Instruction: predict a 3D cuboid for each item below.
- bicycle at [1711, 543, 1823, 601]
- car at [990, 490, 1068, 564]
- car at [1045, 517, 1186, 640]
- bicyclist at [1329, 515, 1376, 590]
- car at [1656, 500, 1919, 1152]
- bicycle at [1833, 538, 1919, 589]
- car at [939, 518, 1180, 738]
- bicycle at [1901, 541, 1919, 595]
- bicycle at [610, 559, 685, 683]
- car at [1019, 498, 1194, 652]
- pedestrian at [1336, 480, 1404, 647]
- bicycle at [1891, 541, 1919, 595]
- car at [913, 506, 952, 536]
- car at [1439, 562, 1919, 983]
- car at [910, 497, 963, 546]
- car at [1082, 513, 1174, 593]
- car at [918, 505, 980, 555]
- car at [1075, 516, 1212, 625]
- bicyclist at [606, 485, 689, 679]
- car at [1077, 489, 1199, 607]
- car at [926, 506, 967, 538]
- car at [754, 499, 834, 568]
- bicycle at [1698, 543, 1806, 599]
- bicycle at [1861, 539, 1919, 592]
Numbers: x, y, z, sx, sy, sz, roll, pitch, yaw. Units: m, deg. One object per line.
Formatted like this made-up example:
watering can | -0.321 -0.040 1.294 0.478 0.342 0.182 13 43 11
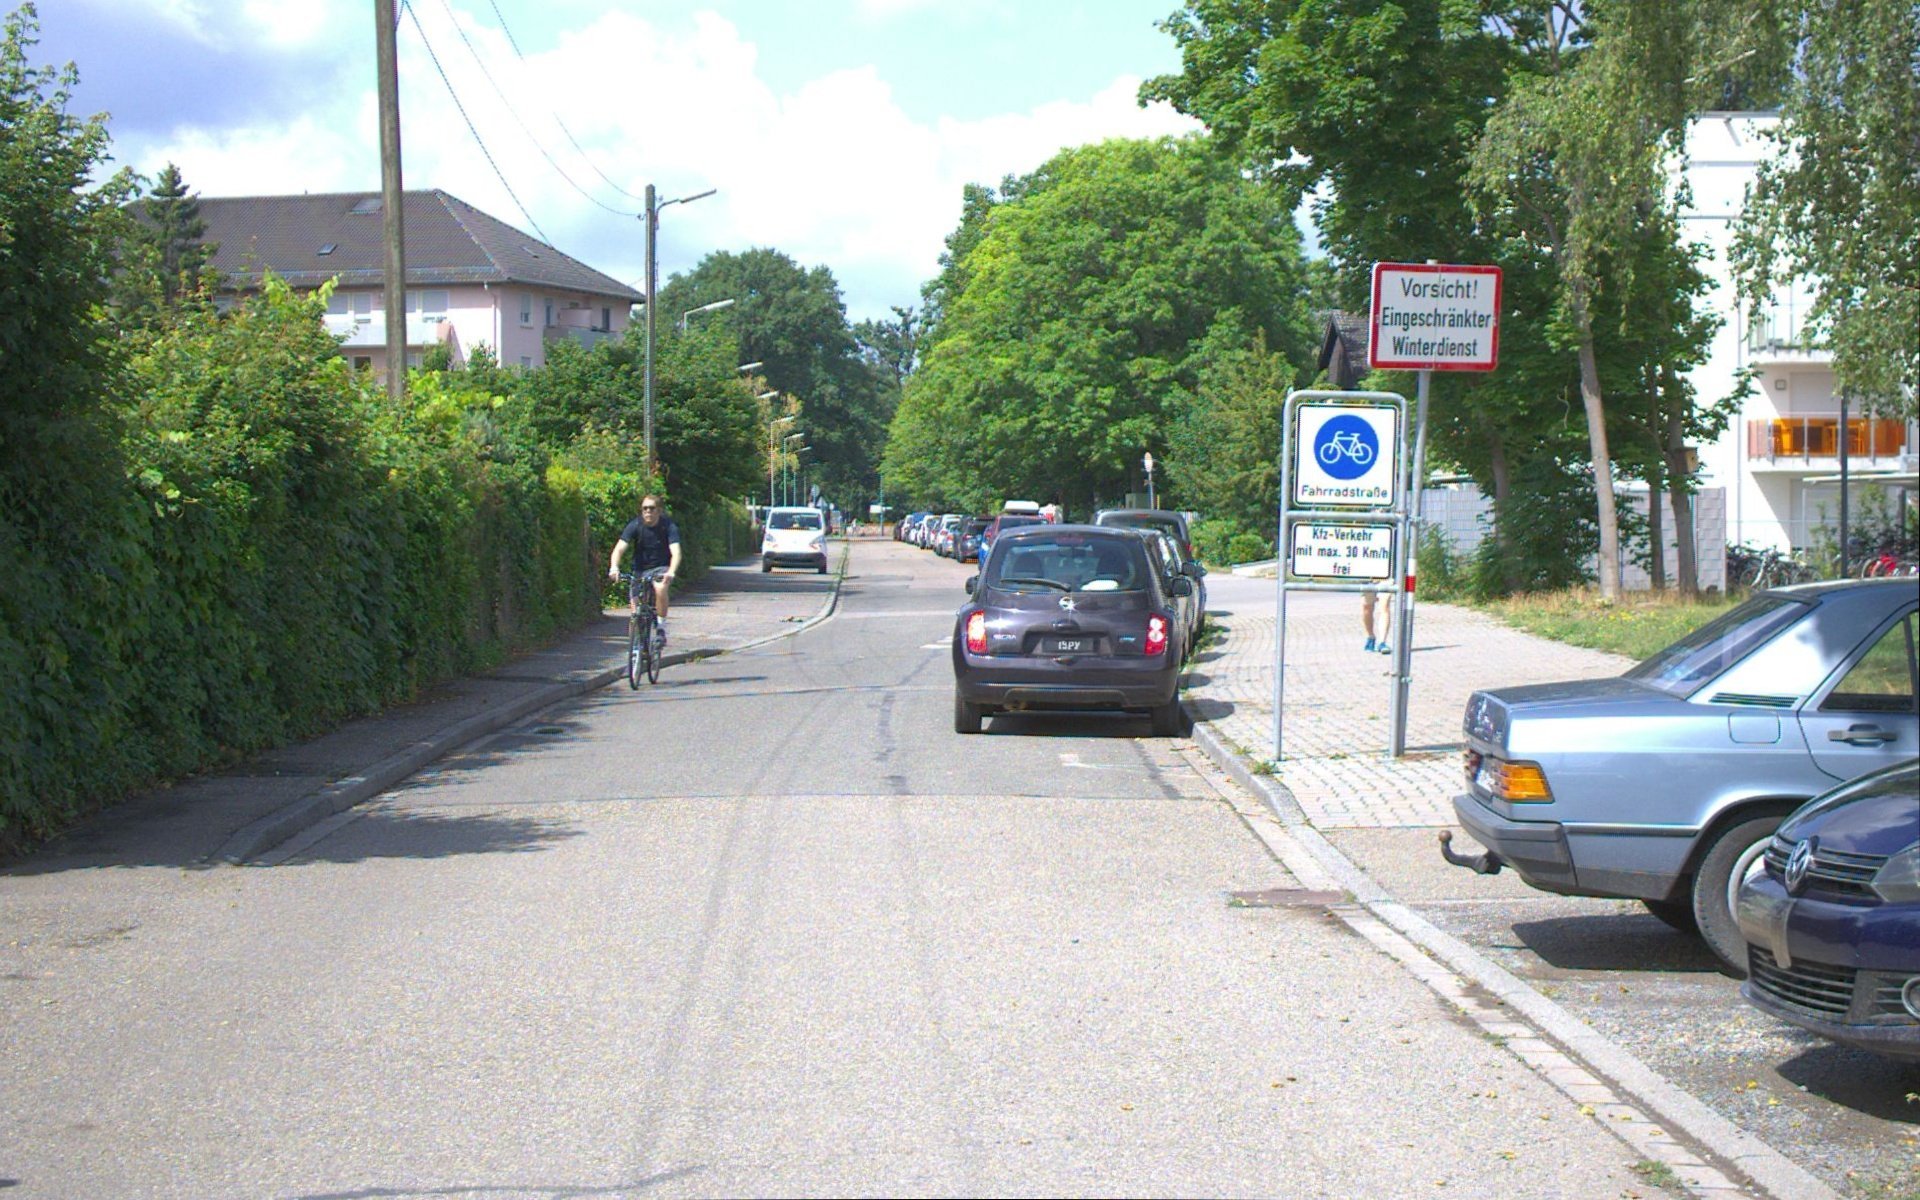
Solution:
bicycle | 16.095 -0.562 68.605 2.089 1.115 0.625 -1 1 3
car | 1.886 -2.004 94.349 2.058 1.919 4.541 1 1 1
car | 1.980 -0.296 43.325 1.663 1.434 3.744 1 1 3
bicyclist | 9.410 -1.138 82.375 0.786 1.779 0.892 2 1 31
car | 4.070 0.564 9.221 3.932 1.554 1.868 1 1 -3
bicycle | 20.322 -0.812 75.607 2.047 1.076 0.688 -1 1 2
car | 0.809 0.158 26.193 1.663 1.501 4.000 1 1 3
bicycle | 19.993 -0.663 68.941 2.047 1.076 0.688 -1 1 2
bicycle | -3.044 0.192 33.587 0.518 1.146 1.827 -1 1 1
car | 1.630 -0.291 37.262 1.664 1.547 3.636 2 1 6
pedestrian | 4.359 -0.394 36.525 0.610 1.739 0.721 2 1 12
bicycle | 20.017 -0.670 69.804 2.047 1.076 0.688 -1 1 2
car | -1.483 -4.335 188.631 1.852 1.612 4.000 1 1 3
car | 3.994 0.561 12.330 4.359 1.387 1.718 -1 1 3
car | -0.968 -3.287 144.163 2.058 1.955 4.541 1 1 1
car | 3.372 -0.963 69.514 1.679 1.514 4.000 1 1 1
car | -0.361 -2.437 119.279 2.058 1.646 4.541 1 1 1
car | 2.529 -0.439 48.128 1.663 1.430 3.542 1 1 -1
bicyclist | -3.045 -0.186 33.562 0.659 1.846 1.043 -1 1 1
car | 2.881 -0.850 55.645 1.874 1.800 3.432 1 1 3
car | -0.648 -3.949 173.836 1.852 1.612 4.000 0 1 3
car | -4.535 -1.832 94.334 1.902 1.808 4.000 1 1 1
bicycle | 16.166 -0.591 70.201 2.047 1.076 0.688 -1 1 2
bicycle | 20.118 -0.737 72.468 2.047 1.076 0.688 -1 1 2
